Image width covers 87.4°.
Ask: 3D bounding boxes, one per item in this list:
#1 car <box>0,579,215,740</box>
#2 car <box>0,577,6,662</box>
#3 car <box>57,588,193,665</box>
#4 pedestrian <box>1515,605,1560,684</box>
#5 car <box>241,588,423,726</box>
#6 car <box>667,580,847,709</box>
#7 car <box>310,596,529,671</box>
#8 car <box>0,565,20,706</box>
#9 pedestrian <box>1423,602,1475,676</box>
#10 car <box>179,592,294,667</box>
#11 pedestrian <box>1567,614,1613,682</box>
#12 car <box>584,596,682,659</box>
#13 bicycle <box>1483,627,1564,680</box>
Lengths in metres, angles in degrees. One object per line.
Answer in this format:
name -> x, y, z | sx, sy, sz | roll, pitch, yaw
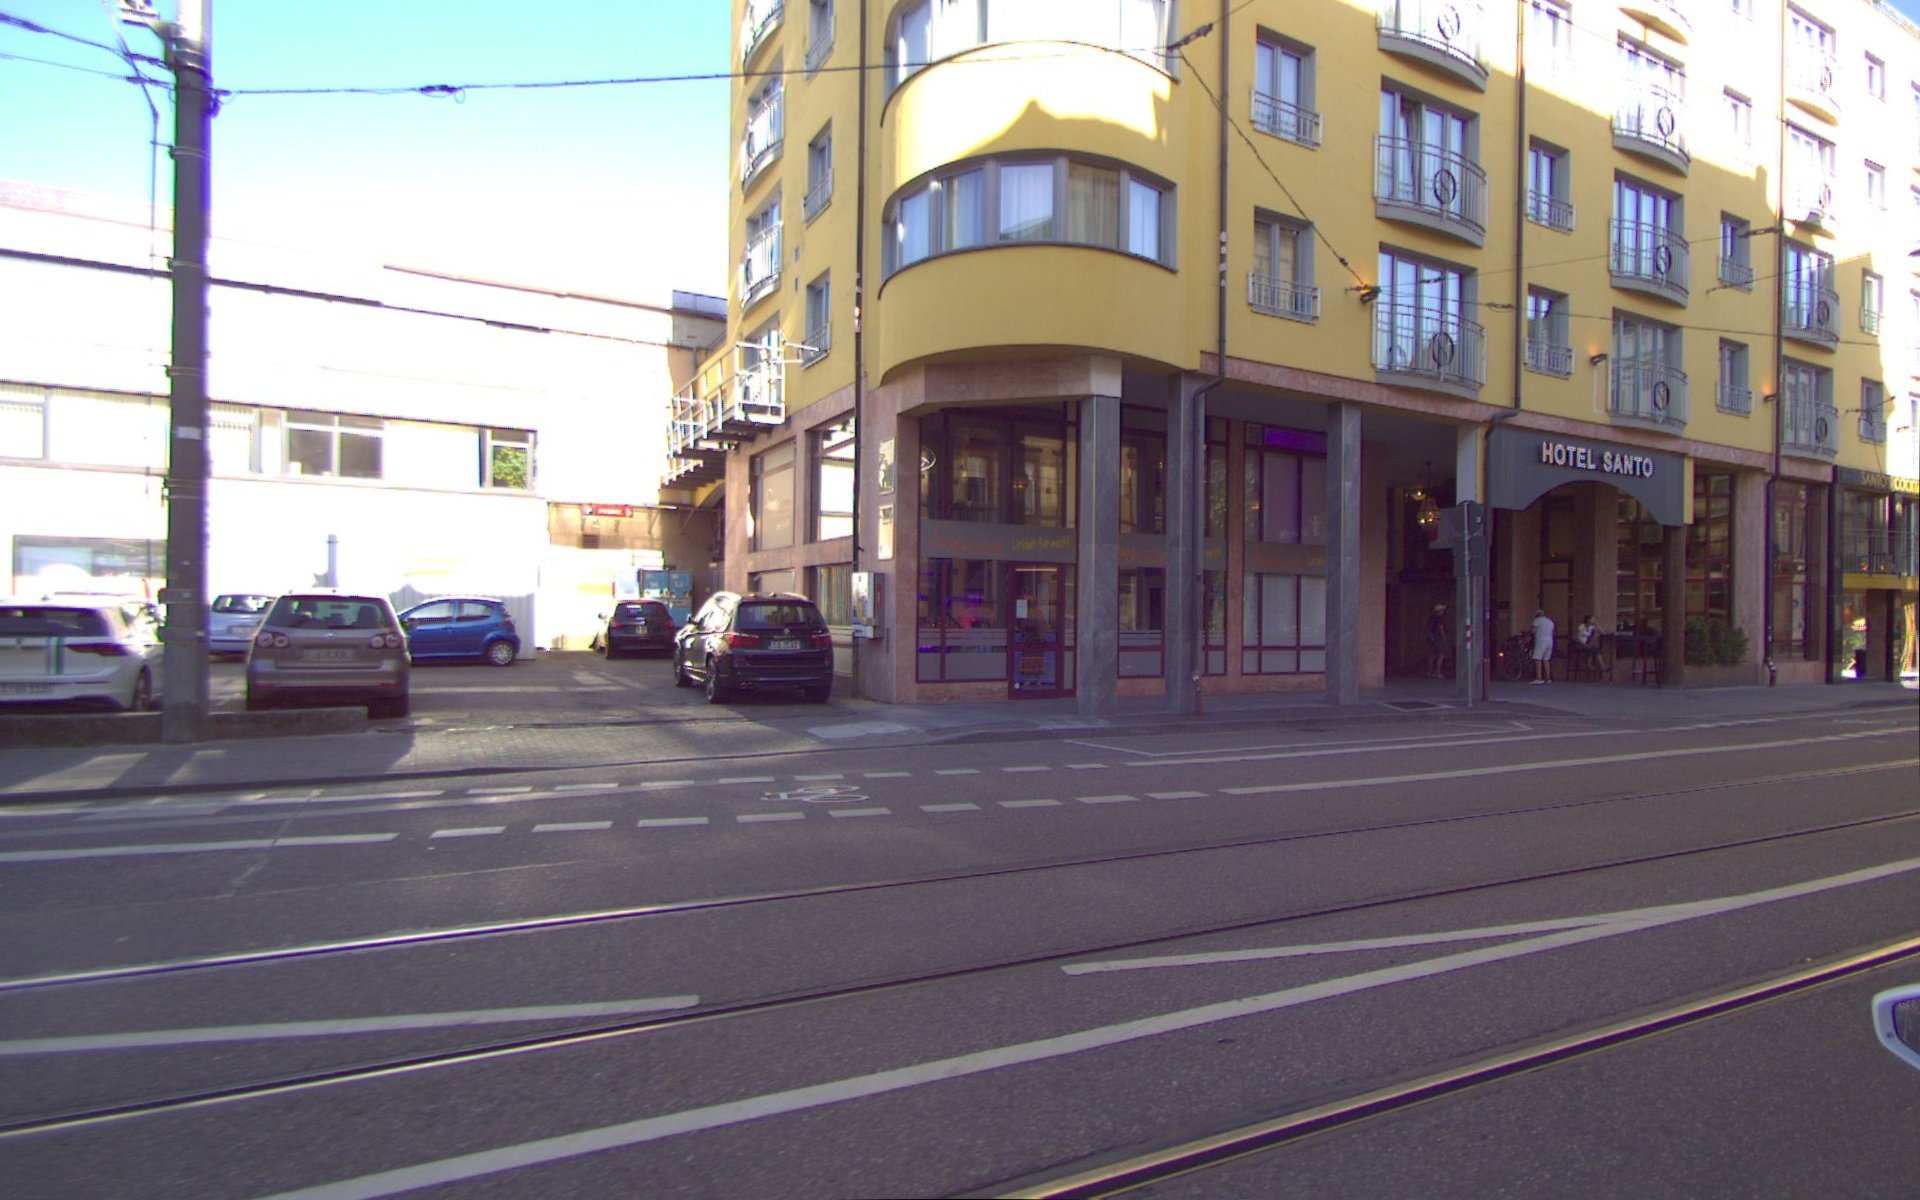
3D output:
car -> -10.560, 0.584, 12.231 | 1.763, 1.631, 4.216 | 1, 1, -28
car -> -19.969, 0.396, 19.222 | 1.676, 1.772, 3.561 | 1, -1, -30
car -> -18.045, 0.590, 21.871 | 1.608, 1.501, 3.620 | 3, -3, -30
pedestrian -> 13.397, 1.024, 23.288 | 0.713, 1.793, 0.559 | 1, 0, -24
car -> -8.372, 0.667, 13.724 | 1.763, 1.568, 4.216 | 2, -1, -28
car -> -3.465, 0.652, 16.504 | 1.763, 1.836, 4.216 | 1, -1, -28
car -> -11.444, 0.697, 21.412 | 3.954, 1.473, 1.770 | 1, -1, -31
car -> -12.492, 0.382, 11.221 | 1.763, 1.835, 4.217 | 3, -3, -28
pedestrian -> 12.039, 0.950, 24.757 | 0.943, 1.793, 0.705 | 1, 0, -24
car -> -15.751, 0.609, 22.028 | 1.676, 1.499, 3.561 | 1, -1, -30
pedestrian -> 14.848, 1.131, 23.697 | 0.593, 1.568, 0.703 | 1, 0, -24
car -> -8.445, 0.679, 25.790 | 1.676, 1.499, 3.561 | 1, -1, -30
bicycle -> 13.447, 1.277, 23.959 | 2.052, 1.219, 0.580 | 2, 0, -25
